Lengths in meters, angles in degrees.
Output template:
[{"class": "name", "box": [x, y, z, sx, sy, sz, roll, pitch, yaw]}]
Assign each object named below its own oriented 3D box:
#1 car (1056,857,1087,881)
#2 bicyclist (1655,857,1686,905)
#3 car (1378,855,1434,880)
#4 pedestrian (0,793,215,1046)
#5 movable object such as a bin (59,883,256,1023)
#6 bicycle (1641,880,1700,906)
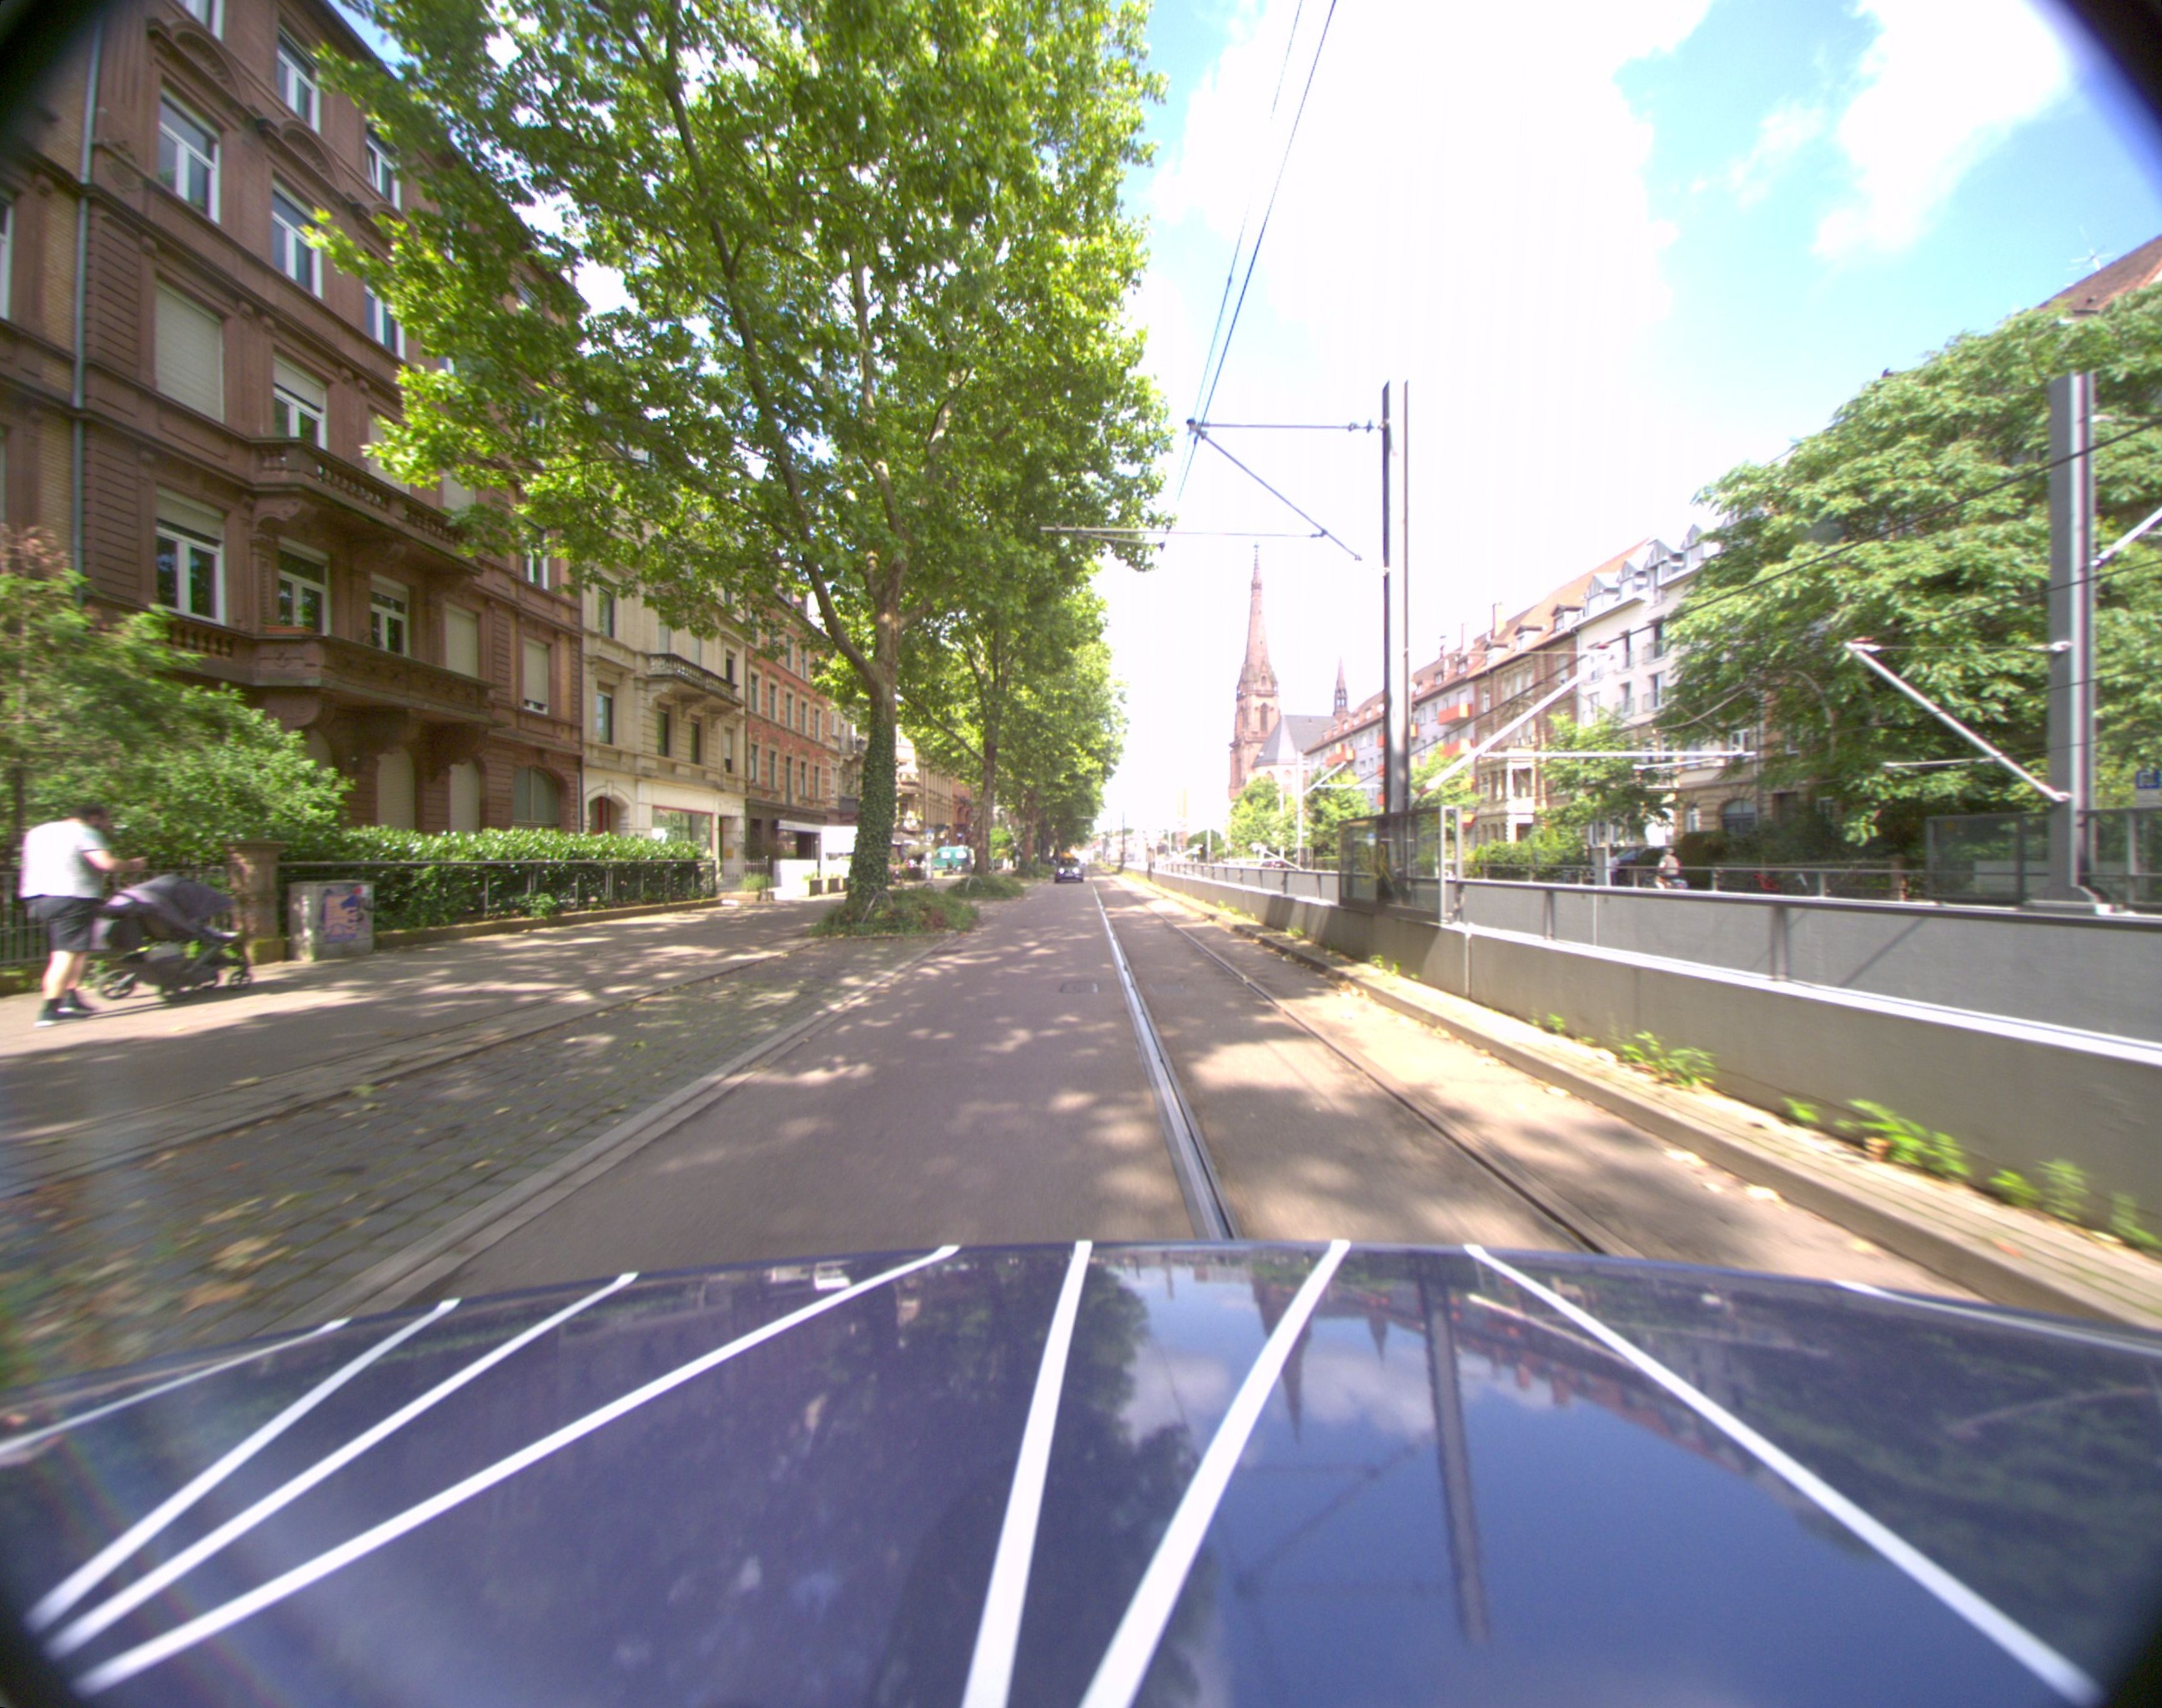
[{"class": "car", "box": [-0.583, 0.918, 48.468, 1.799, 1.454, 4.568, 0, 0, 1]}, {"class": "bicyclist", "box": [19.193, 0.864, 24.761, 0.505, 1.535, 0.607, 1, 0, 0]}, {"class": "car", "box": [21.508, 0.878, 50.511, 1.998, 1.628, 4.114, 0, 0, 0]}, {"class": "pedestrian", "box": [-8.572, 0.521, 6.601, 0.766, 2.002, 1.119, 2, 0, -4]}, {"class": "movable object such as a bin", "box": [-8.828, 0.906, 7.322, 0.609, 1.202, 1.058, 2, 0, -5]}, {"class": "bicycle", "box": [19.168, 1.261, 24.751, 0.497, 0.764, 1.817, 0, 0, 0]}]
